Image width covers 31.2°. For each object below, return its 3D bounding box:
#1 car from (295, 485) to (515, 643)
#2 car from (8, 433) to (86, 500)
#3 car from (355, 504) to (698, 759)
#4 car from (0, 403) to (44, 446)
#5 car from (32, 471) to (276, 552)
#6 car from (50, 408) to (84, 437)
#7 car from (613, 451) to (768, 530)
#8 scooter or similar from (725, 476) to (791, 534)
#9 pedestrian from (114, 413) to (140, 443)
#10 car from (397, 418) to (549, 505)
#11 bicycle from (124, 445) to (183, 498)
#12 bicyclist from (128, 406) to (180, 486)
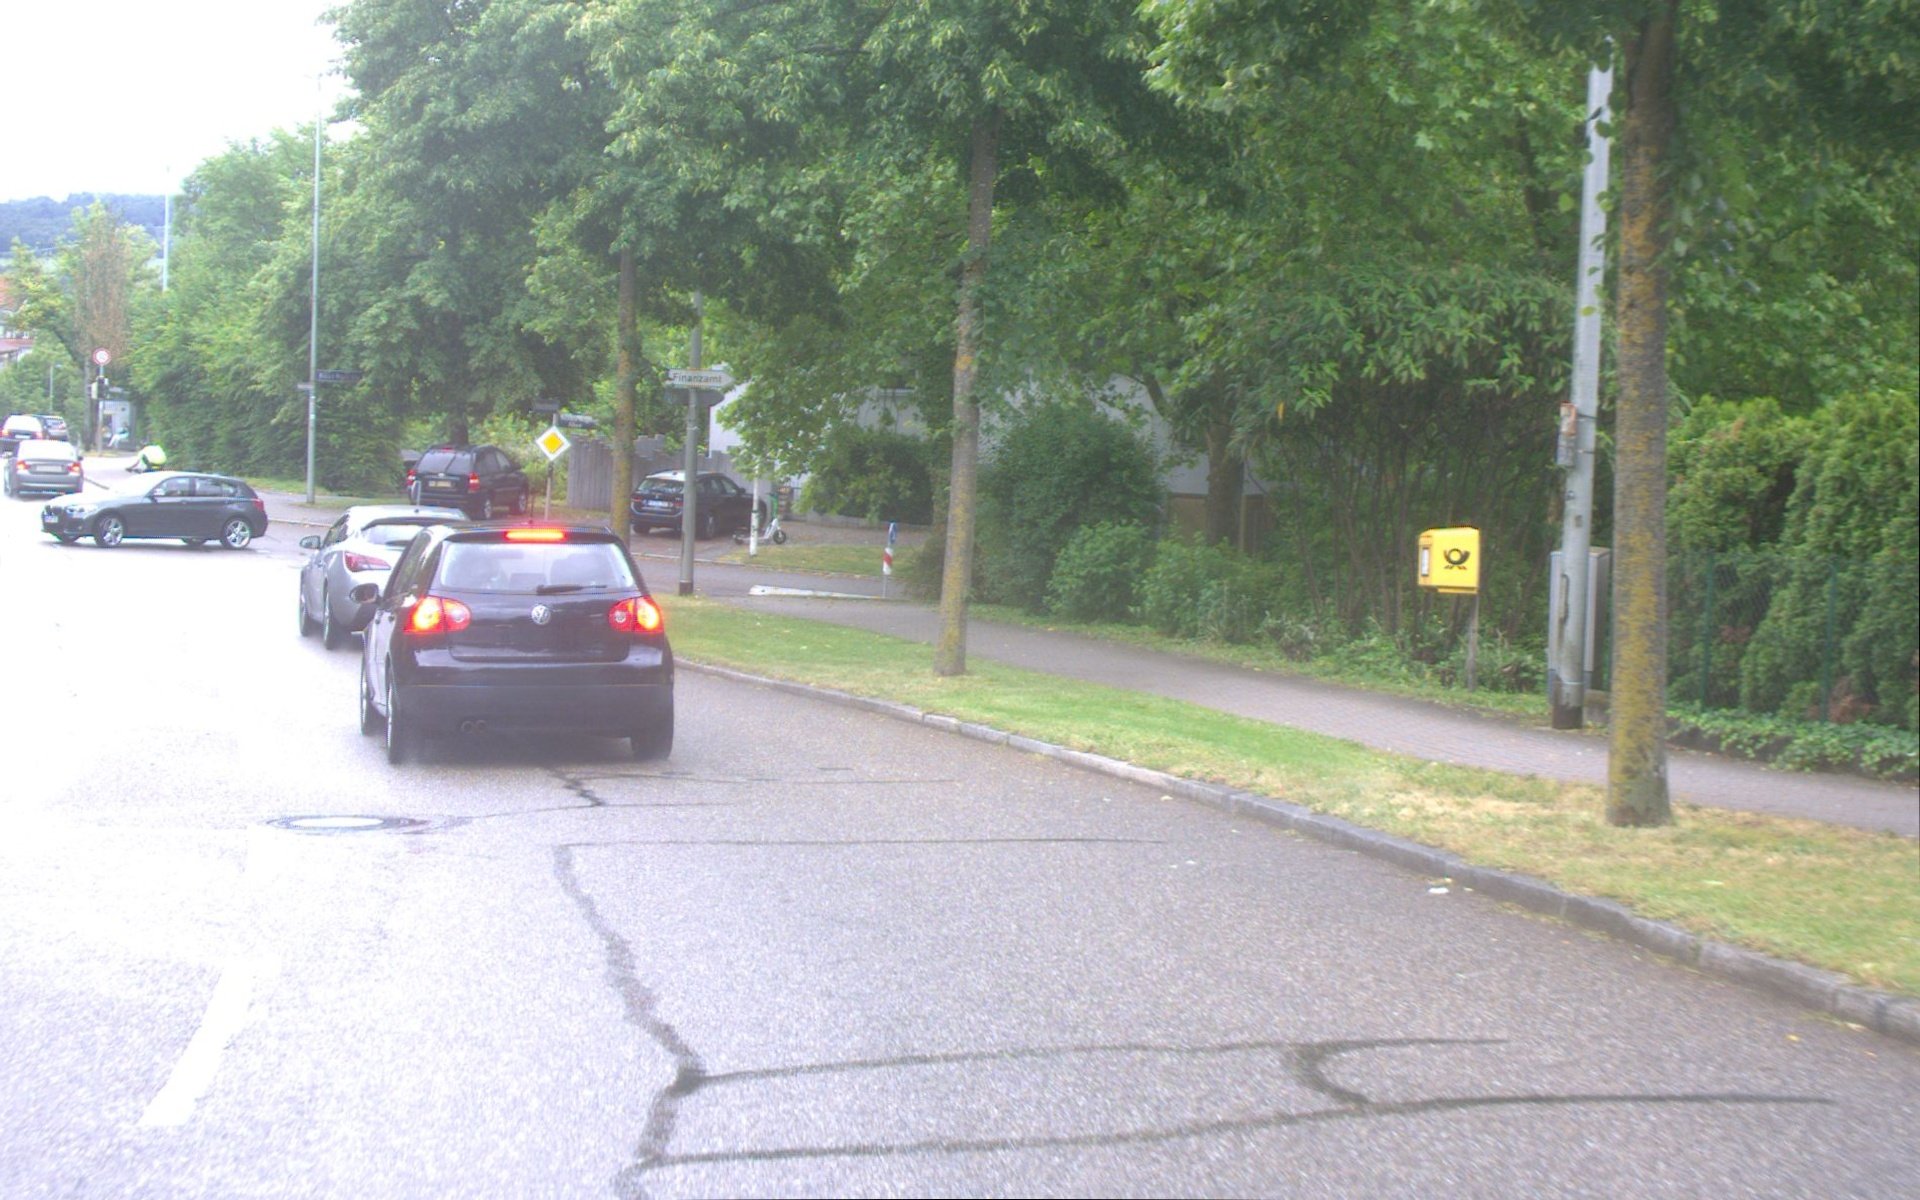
[{"bbox_3d":[-5.828,-0.412,35.770,1.754,1.459,4.002,1,3,-16],"label":"car"},{"bbox_3d":[-22.730,-3.335,85.500,1.721,1.459,4.002,5,2,-16],"label":"car"},{"bbox_3d":[-2.882,0.138,22.171,1.721,1.459,4.001,2,1,-14],"label":"car"},{"bbox_3d":[-34.247,-6.406,125.049,1.721,1.459,4.002,2,2,-16],"label":"car"},{"bbox_3d":[-15.235,-1.670,65.083,4.126,1.379,1.727,1,1,-36],"label":"car"},{"bbox_3d":[-51.697,-10.282,198.913,1.721,1.459,4.002,5,2,-16],"label":"car"},{"bbox_3d":[-6.121,-2.525,78.575,1.753,1.464,4.562,5,6,19],"label":"car"},{"bbox_3d":[-4.502,-2.124,76.703,1.335,1.281,0.562,0,3,-23],"label":"scooter or similar"},{"bbox_3d":[-37.822,-7.818,156.124,1.073,1.351,0.918,1,3,-7],"label":"pedestrian"},{"bbox_3d":[-11.266,-3.248,79.849,1.948,1.683,4.902,4,6,10],"label":"car"},{"bbox_3d":[-18.098,-2.891,77.111,0.851,1.151,2.038,1,2,-25],"label":"bicycle"},{"bbox_3d":[-18.078,-3.457,77.085,0.851,1.749,1.286,1,2,-25],"label":"bicyclist"}]
